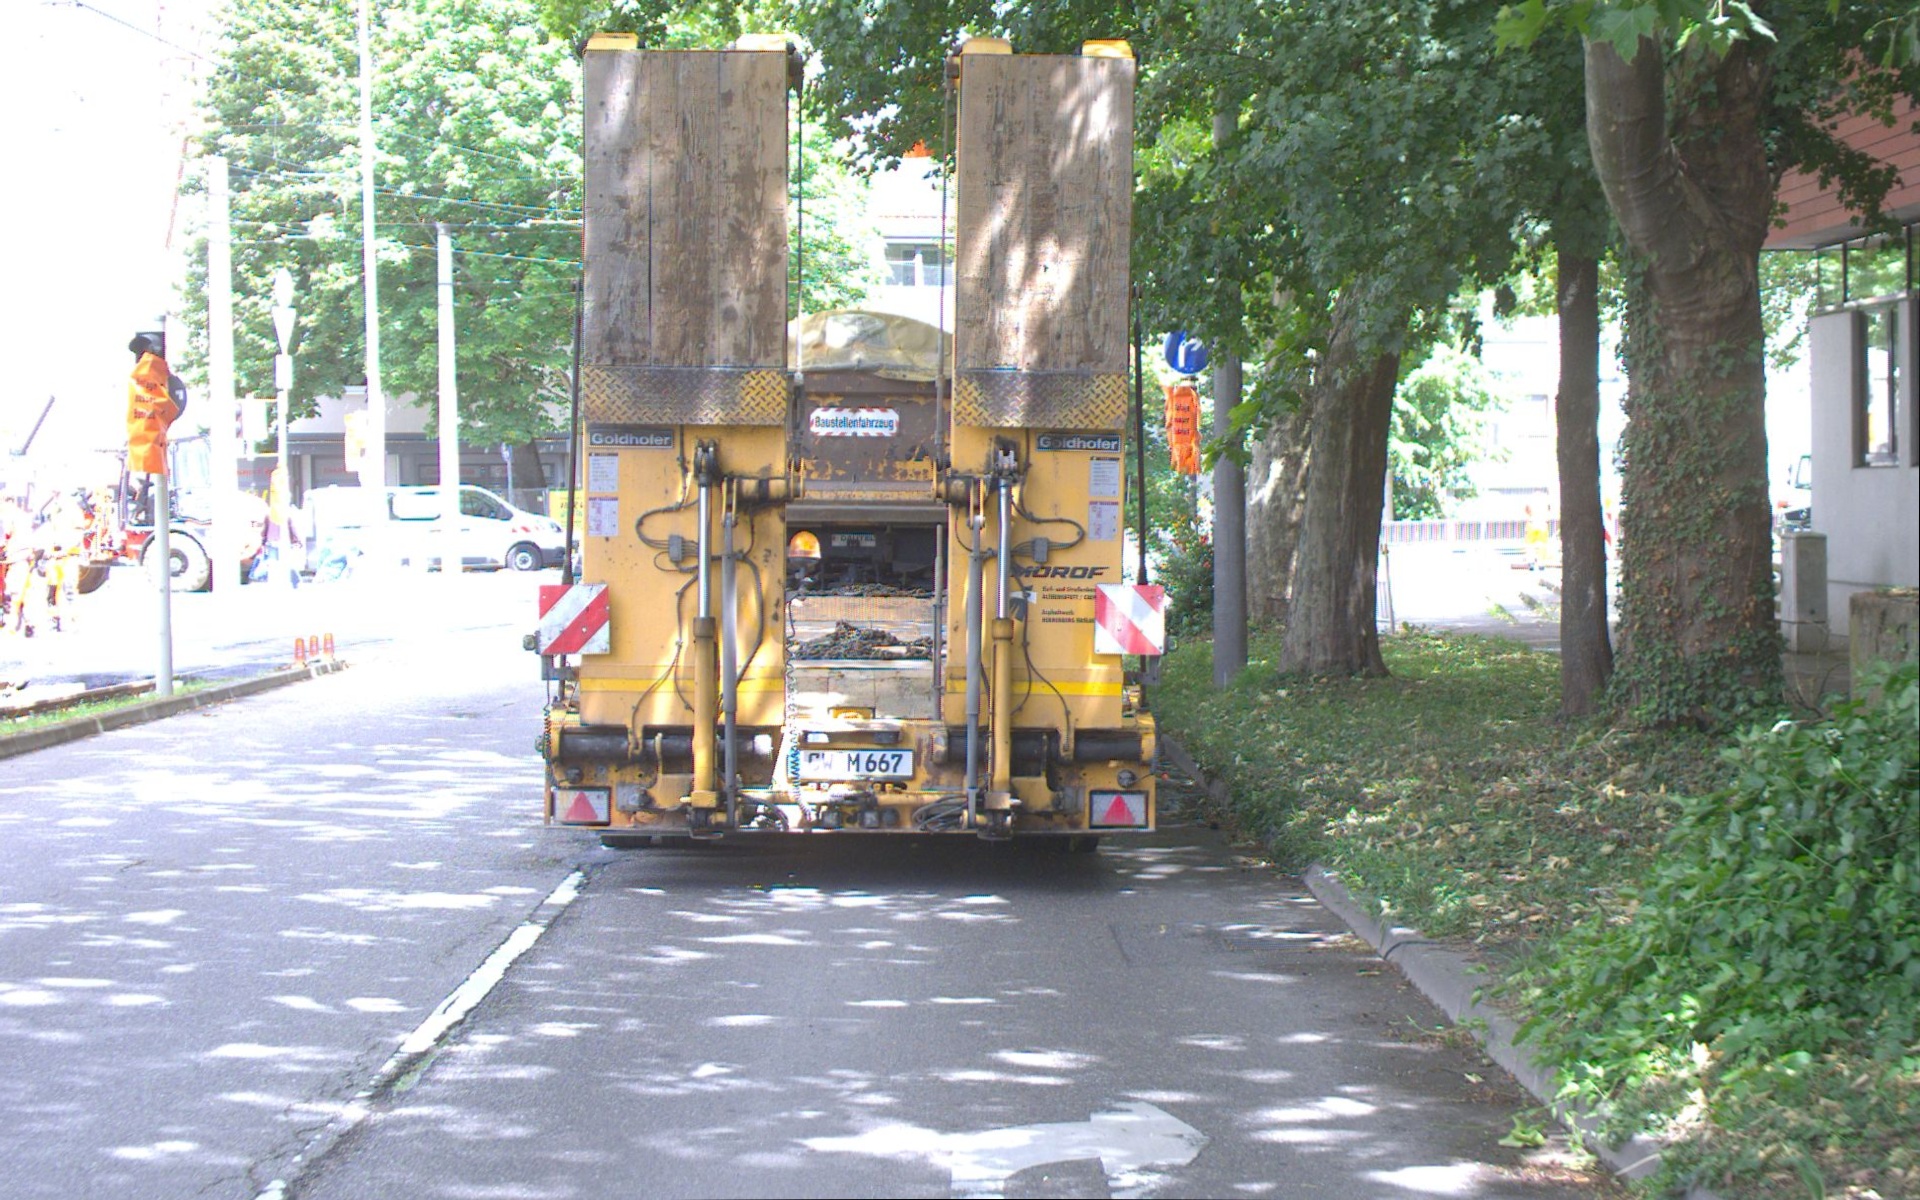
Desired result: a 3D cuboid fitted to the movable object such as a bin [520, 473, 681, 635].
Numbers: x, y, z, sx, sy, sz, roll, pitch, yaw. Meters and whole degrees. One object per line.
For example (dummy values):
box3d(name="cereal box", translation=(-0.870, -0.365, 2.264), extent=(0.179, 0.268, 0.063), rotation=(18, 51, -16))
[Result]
box3d(name="movable object such as a bin", translation=(-4.580, -0.599, 44.048), extent=(1.399, 2.007, 2.555), rotation=(1, 1, 10))

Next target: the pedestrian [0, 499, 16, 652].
box3d(name="pedestrian", translation=(-11.447, -0.288, 39.510), extent=(0.886, 1.754, 0.837), rotation=(1, 1, 10))

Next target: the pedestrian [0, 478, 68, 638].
box3d(name="pedestrian", translation=(-11.088, -0.502, 40.605), extent=(0.885, 1.861, 0.837), rotation=(0, 1, -29))

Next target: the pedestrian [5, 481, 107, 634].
box3d(name="pedestrian", translation=(-11.177, -0.529, 42.519), extent=(0.887, 1.861, 0.836), rotation=(1, 1, 28))

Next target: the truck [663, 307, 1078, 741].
box3d(name="truck", translation=(-0.692, -0.616, 28.826), extent=(2.989, 3.124, 7.888), rotation=(0, 1, -1))

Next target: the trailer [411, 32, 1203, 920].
box3d(name="trailer", translation=(-0.645, -0.589, 19.325), extent=(3.154, 3.540, 11.097), rotation=(0, 1, 0))

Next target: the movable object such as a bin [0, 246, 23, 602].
box3d(name="movable object such as a bin", translation=(-19.081, -2.703, 53.468), extent=(9.215, 5.396, 2.660), rotation=(1, 1, 26))

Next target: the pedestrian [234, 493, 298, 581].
box3d(name="pedestrian", translation=(-11.237, -1.024, 55.699), extent=(0.916, 1.404, 0.753), rotation=(0, 1, -3))

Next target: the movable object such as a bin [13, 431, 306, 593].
box3d(name="movable object such as a bin", translation=(-13.440, -1.473, 57.750), extent=(4.373, 2.620, 2.217), rotation=(1, 1, 26))

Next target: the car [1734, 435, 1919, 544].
box3d(name="car", translation=(19.488, -2.417, 76.003), extent=(4.239, 2.357, 2.159), rotation=(-1, 1, -28))

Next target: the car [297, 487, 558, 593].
box3d(name="car", translation=(-10.875, -1.220, 70.133), extent=(5.088, 2.095, 1.977), rotation=(0, 1, -15))
